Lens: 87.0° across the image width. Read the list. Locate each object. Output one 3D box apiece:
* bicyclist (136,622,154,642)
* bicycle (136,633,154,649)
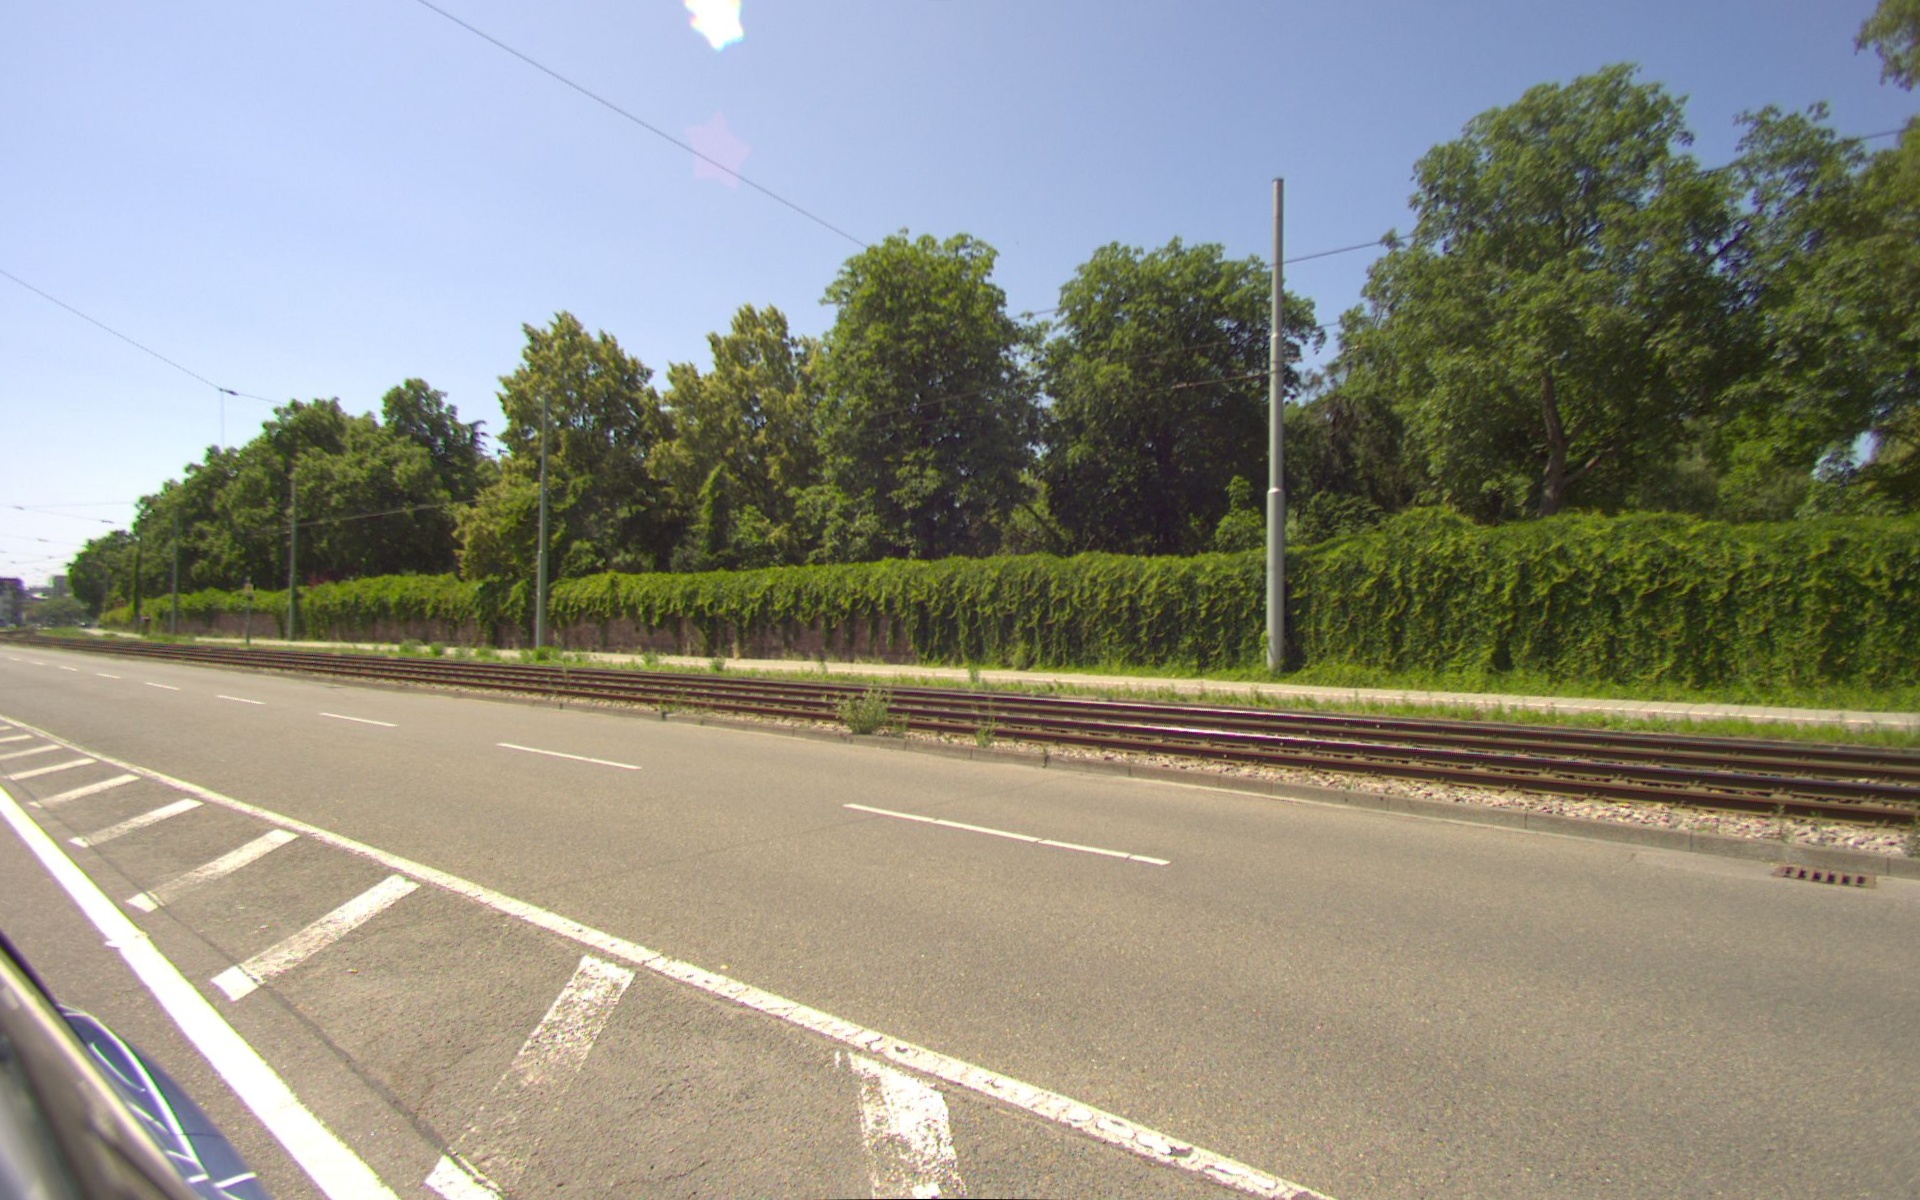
[{"bbox_3d":[-62.272,2.467,77.328,0.983,1.497,1.001,1,-2,-44],"label":"bicyclist"},{"bbox_3d":[-62.219,3.123,77.268,0.819,1.165,2.687,1,-2,-44],"label":"bicycle"}]
